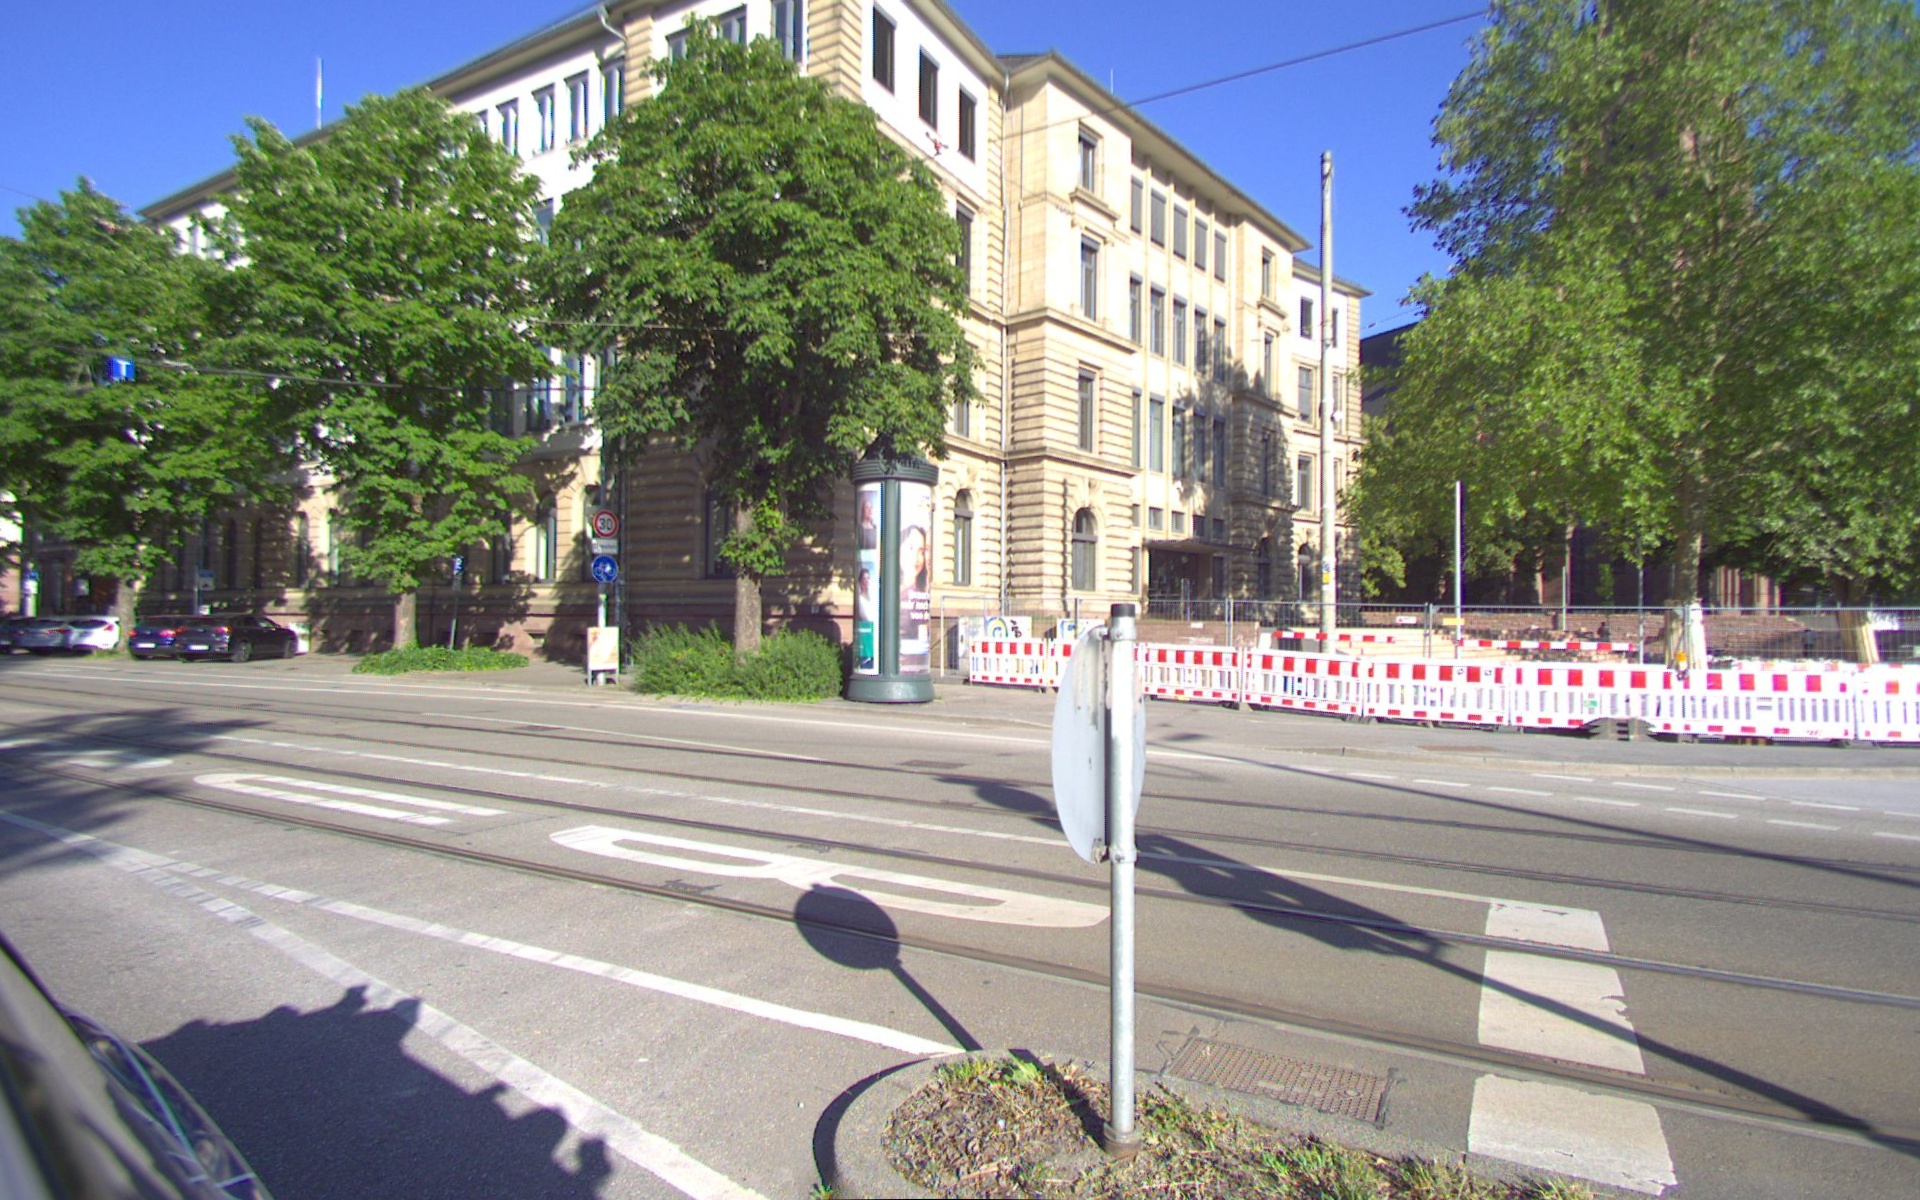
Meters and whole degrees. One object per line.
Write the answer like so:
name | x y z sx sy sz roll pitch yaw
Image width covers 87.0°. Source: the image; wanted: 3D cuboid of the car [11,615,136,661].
car | -33.230 1.392 38.066 1.626 1.572 3.652 -1 0 -3

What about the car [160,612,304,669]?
car | -23.617 1.262 33.037 1.819 1.643 4.184 -1 0 -3

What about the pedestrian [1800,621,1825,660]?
pedestrian | 36.850 1.725 43.761 0.666 1.660 0.762 1 -2 -45

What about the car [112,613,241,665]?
car | -26.246 1.272 34.039 1.626 1.572 3.652 -1 0 -3

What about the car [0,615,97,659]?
car | -36.246 1.415 39.774 1.626 1.572 3.652 -1 0 -3

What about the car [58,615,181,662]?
car | -30.918 1.374 37.355 1.626 1.572 3.652 -1 0 -3

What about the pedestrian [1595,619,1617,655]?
pedestrian | 30.514 1.727 47.769 0.627 1.660 0.677 1 -2 -37
